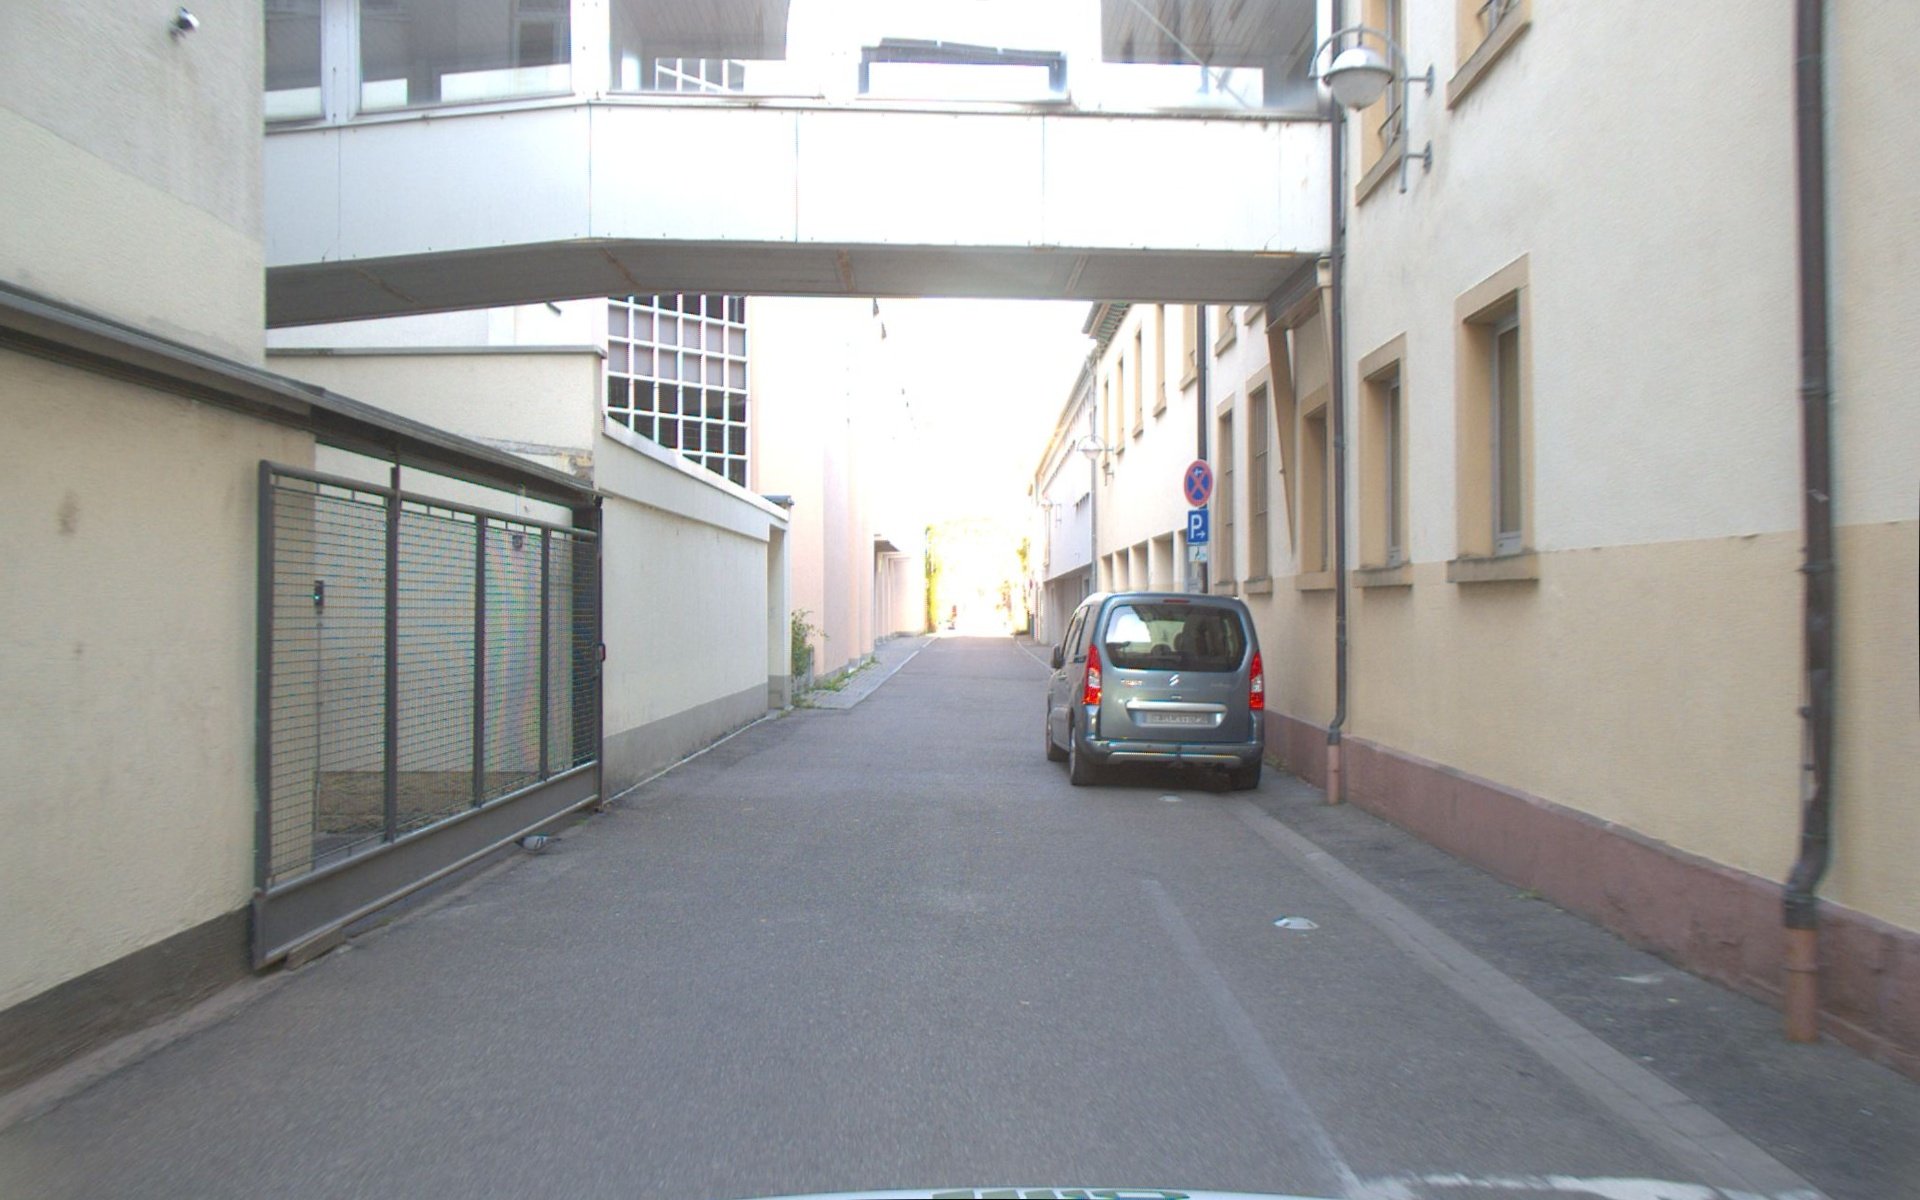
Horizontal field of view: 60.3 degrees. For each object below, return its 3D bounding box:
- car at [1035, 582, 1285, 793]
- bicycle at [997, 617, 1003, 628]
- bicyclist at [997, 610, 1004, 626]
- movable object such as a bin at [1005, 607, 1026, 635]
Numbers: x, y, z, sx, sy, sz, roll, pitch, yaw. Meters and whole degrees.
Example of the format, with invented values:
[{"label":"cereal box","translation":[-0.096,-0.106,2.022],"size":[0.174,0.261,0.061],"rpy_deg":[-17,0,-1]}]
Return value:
[{"label":"car","translation":[1.872,0.792,16.752],"size":[1.818,1.786,4.160],"rpy_deg":[3,-1,-2]},{"label":"bicycle","translation":[3.392,1.860,138.759],"size":[0.433,0.931,1.517],"rpy_deg":[1,0,3]},{"label":"bicyclist","translation":[3.401,1.492,138.841],"size":[0.502,1.346,0.559],"rpy_deg":[1,0,3]},{"label":"movable object such as a bin","translation":[2.987,1.109,89.042],"size":[1.084,1.461,1.414],"rpy_deg":[0,2,0]}]
